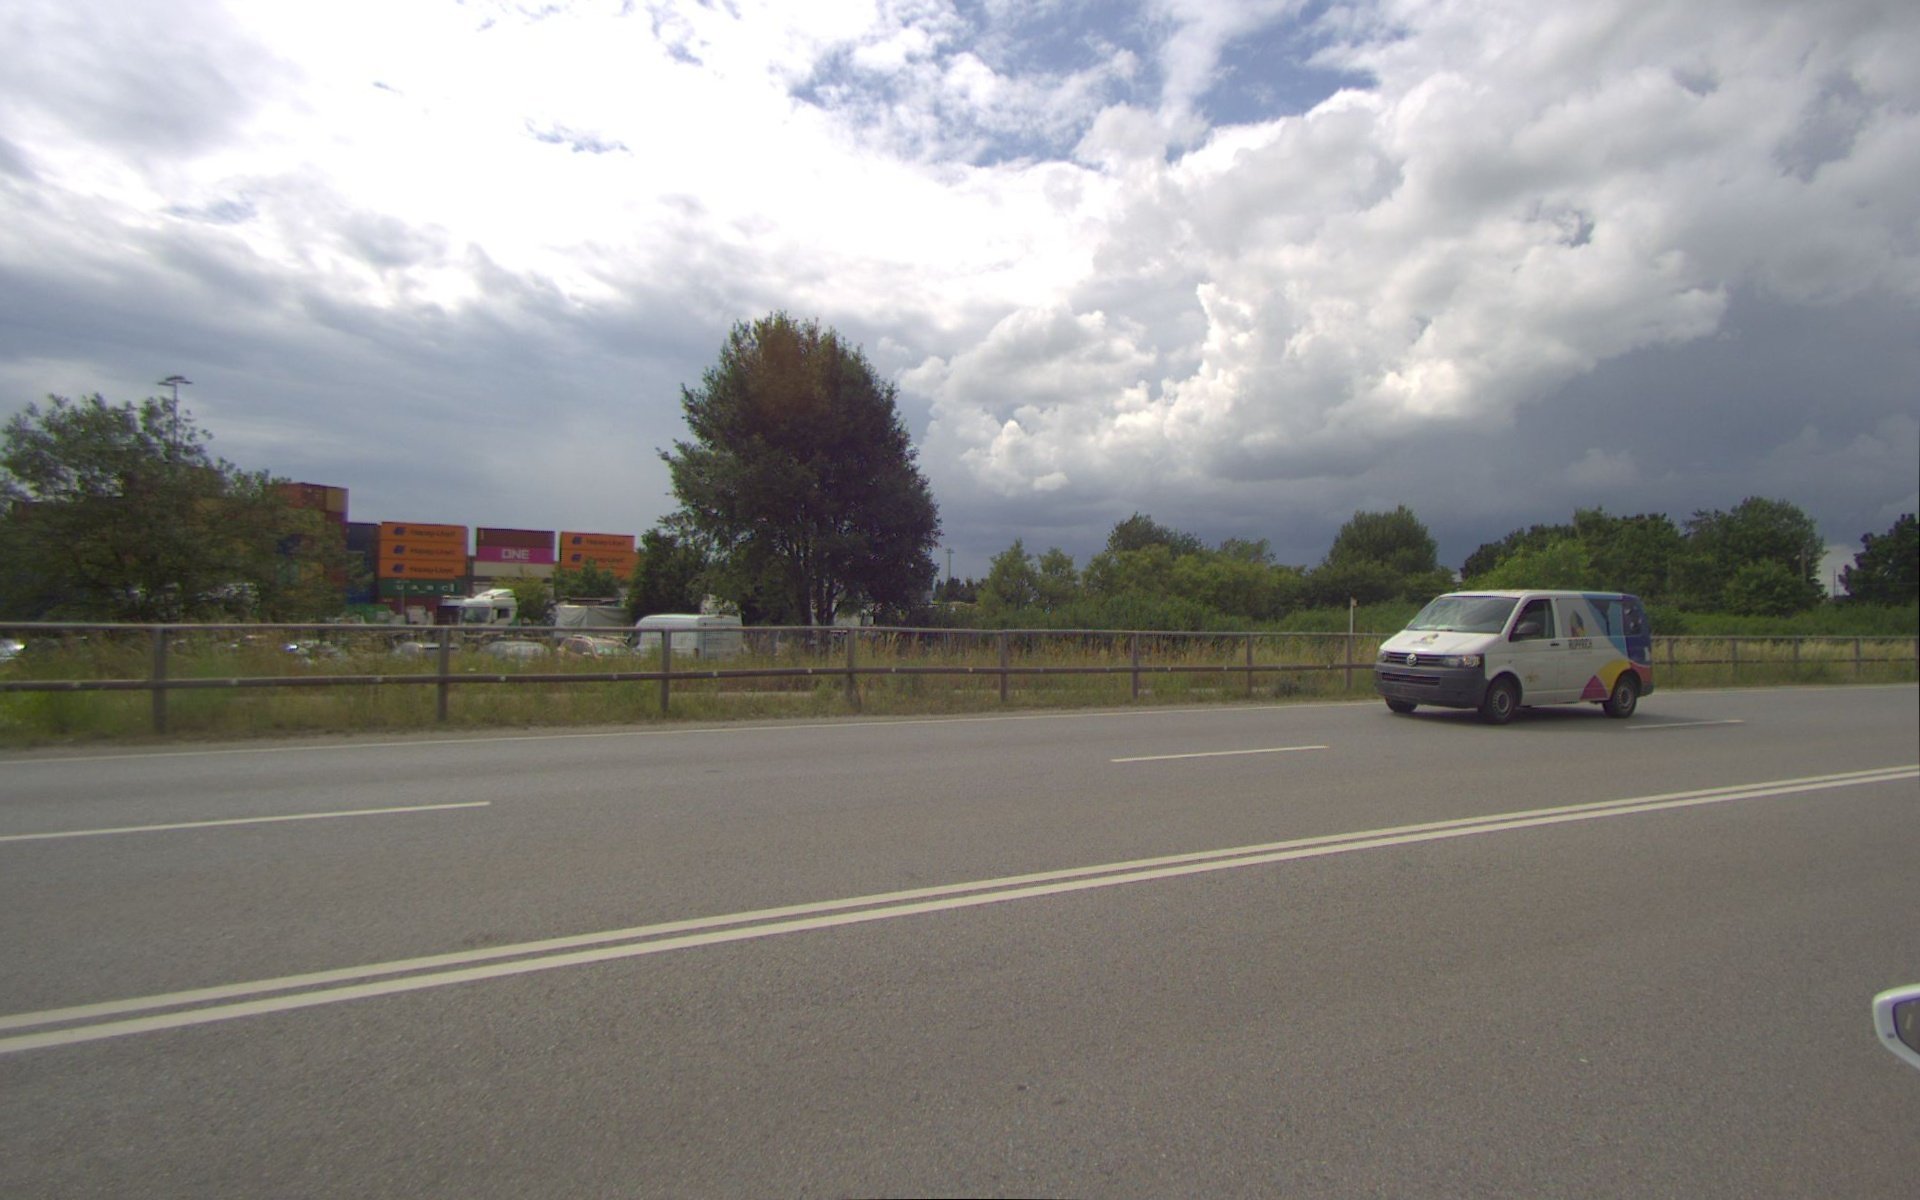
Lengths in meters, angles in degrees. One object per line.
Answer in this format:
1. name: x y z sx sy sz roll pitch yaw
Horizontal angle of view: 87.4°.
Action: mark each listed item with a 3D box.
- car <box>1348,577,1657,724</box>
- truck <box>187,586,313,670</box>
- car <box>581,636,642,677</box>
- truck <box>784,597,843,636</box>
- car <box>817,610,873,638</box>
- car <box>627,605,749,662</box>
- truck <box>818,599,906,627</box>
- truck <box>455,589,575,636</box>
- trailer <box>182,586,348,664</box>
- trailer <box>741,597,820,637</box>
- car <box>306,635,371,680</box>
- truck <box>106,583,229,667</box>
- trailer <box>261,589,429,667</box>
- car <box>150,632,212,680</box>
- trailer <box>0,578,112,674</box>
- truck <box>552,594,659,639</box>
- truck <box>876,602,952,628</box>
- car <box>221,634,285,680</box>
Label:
1. car: 8.550 0.745 15.795 4.606 2.040 1.987 1 0 -27
2. truck: -39.166 1.511 55.606 2.155 4.350 5.431 1 -1 20
3. car: -16.759 2.660 48.189 1.825 1.742 3.962 1 0 -34
4. truck: -10.435 1.195 71.545 3.687 2.713 1.984 1 0 -30
5. car: -9.156 1.895 79.856 3.956 2.040 1.983 2 -1 -32
6. car: -9.584 1.129 35.167 4.519 1.758 1.989 2 0 42
7. truck: -8.231 1.116 84.272 7.031 2.040 1.989 2 -1 -22
8. truck: -27.246 0.755 61.800 2.603 2.718 6.650 1 -1 25
9. trailer: -41.411 1.469 60.279 2.155 4.350 8.501 1 -1 19
10. trailer: -12.550 1.177 70.283 5.010 2.695 1.984 1 -1 -30
11. car: -27.149 2.477 43.833 1.829 1.742 3.953 1 0 -40
12. truck: -43.267 1.352 54.990 2.155 4.350 4.855 1 -1 20
13. trailer: -37.167 1.637 61.258 2.155 4.350 9.379 1 -1 19
14. car: -32.235 2.259 41.530 1.829 1.742 3.953 1 0 -40
15. trailer: -45.494 1.136 45.792 10.321 4.350 3.204 1 -1 -41
16. truck: -22.529 1.044 64.242 2.602 2.718 6.652 1 -1 23
17. truck: -3.941 1.291 86.051 6.141 2.040 1.989 2 -1 -22
18. car: -29.870 2.357 42.394 1.829 1.742 3.953 1 0 -40
